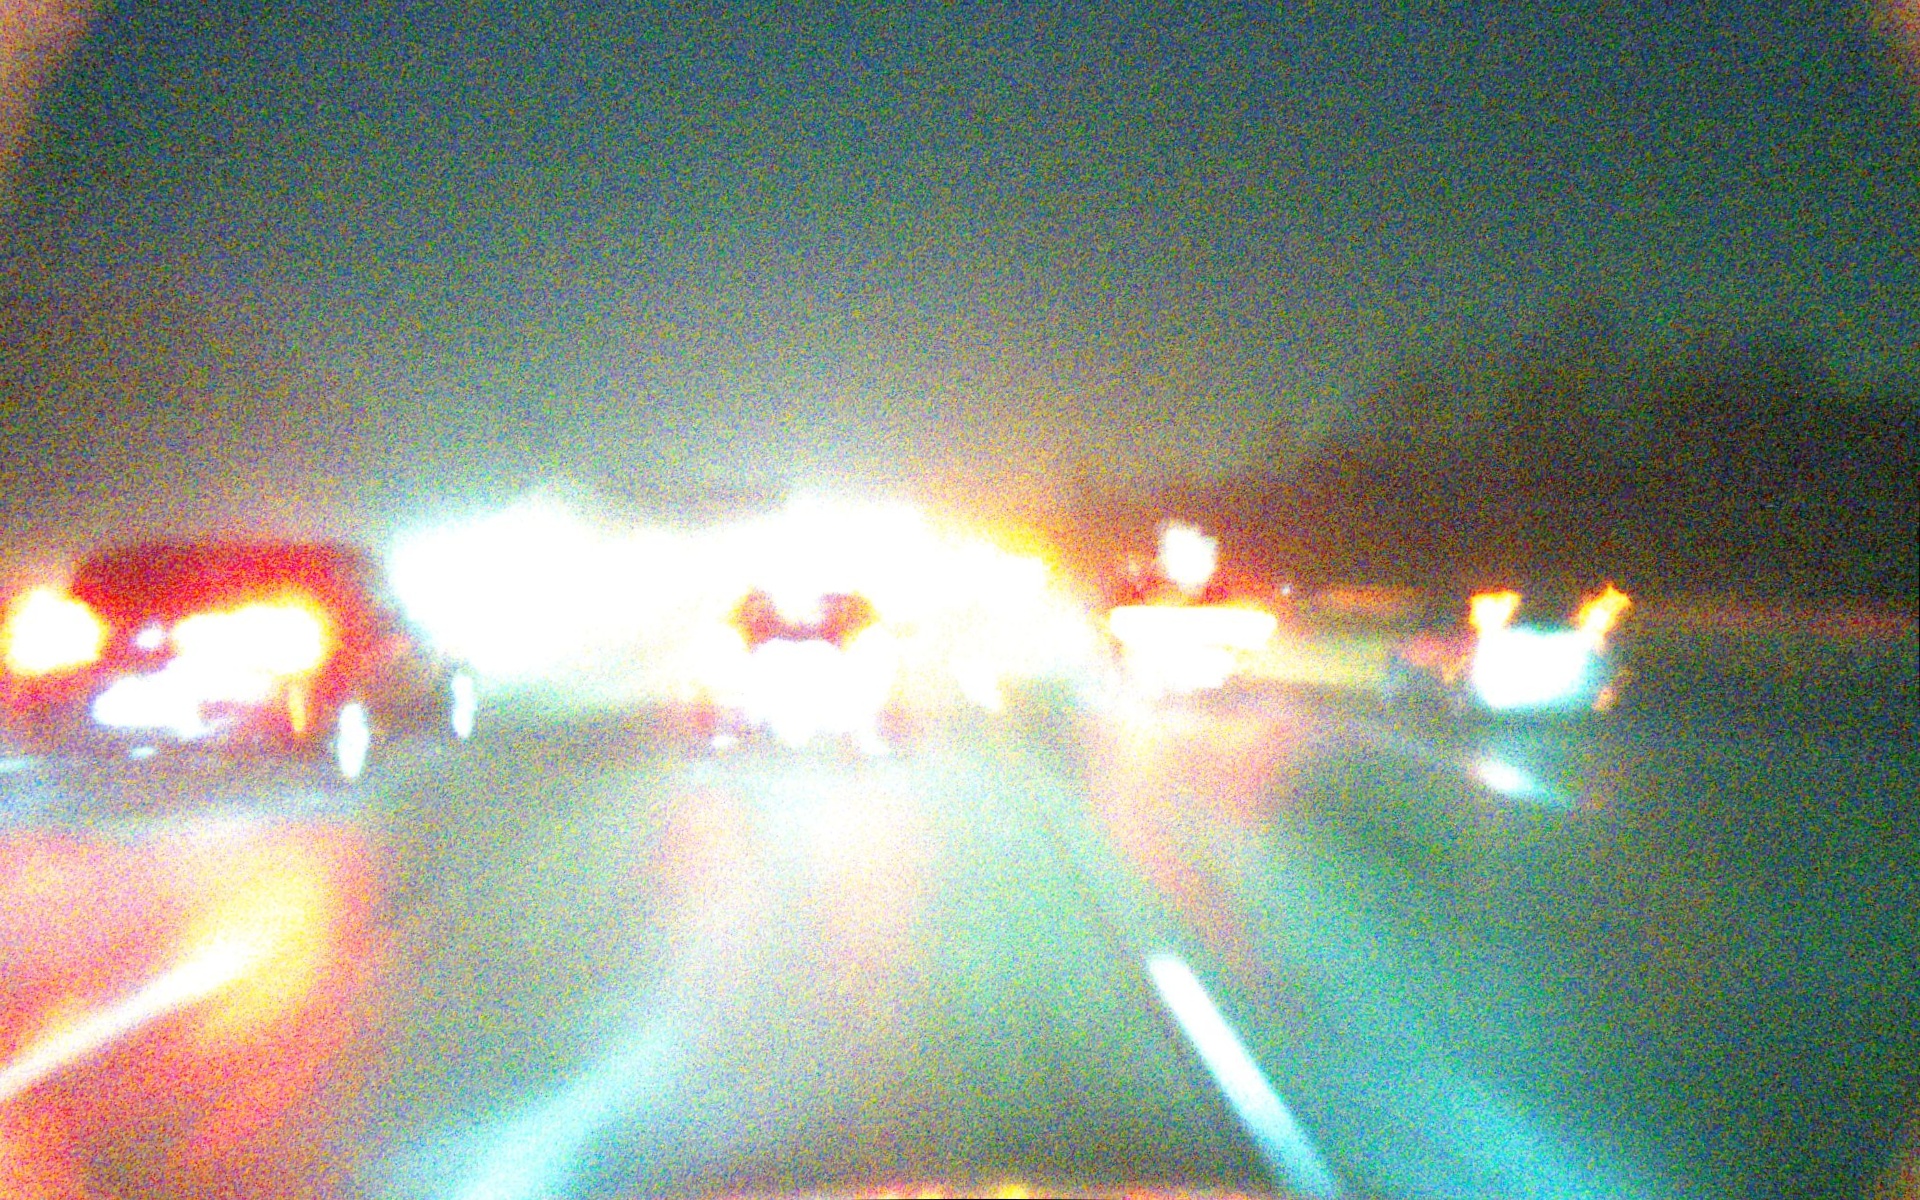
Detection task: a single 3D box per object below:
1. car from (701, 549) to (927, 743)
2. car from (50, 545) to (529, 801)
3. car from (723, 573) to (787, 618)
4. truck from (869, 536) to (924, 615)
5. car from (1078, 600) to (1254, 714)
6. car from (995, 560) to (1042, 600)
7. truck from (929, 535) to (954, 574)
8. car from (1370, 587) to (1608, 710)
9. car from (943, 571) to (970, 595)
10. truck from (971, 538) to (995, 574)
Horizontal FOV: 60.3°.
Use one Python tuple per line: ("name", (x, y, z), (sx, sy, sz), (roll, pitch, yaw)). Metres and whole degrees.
("car", (-1.206, 0.312, 15.038), (1.765, 1.513, 3.999), (1, 1, -2))
("car", (-4.767, 0.380, 12.628), (1.821, 1.567, 4.750), (0, 2, -2))
("car", (-6.243, -0.156, 50.621), (1.629, 1.258, 3.759), (-3, 1, -3))
("truck", (-2.634, -1.045, 69.926), (1.953, 3.095, 6.465), (-3, 1, 0))
("car", (2.521, 0.671, 20.849), (1.550, 1.267, 3.065), (1, 1, -6))
("car", (2.469, -0.875, 70.857), (1.825, 1.646, 4.000), (1, 1, 0))
("truck", (-1.517, -3.785, 139.331), (1.953, 3.095, 6.465), (-3, 1, 0))
("car", (6.043, 0.515, 19.225), (1.550, 1.267, 3.065), (1, 1, -6))
("car", (-0.244, -1.191, 114.080), (1.825, 1.646, 4.000), (1, 1, 0))
("truck", (2.111, -4.054, 153.148), (1.953, 3.095, 6.465), (-3, 1, 0))
